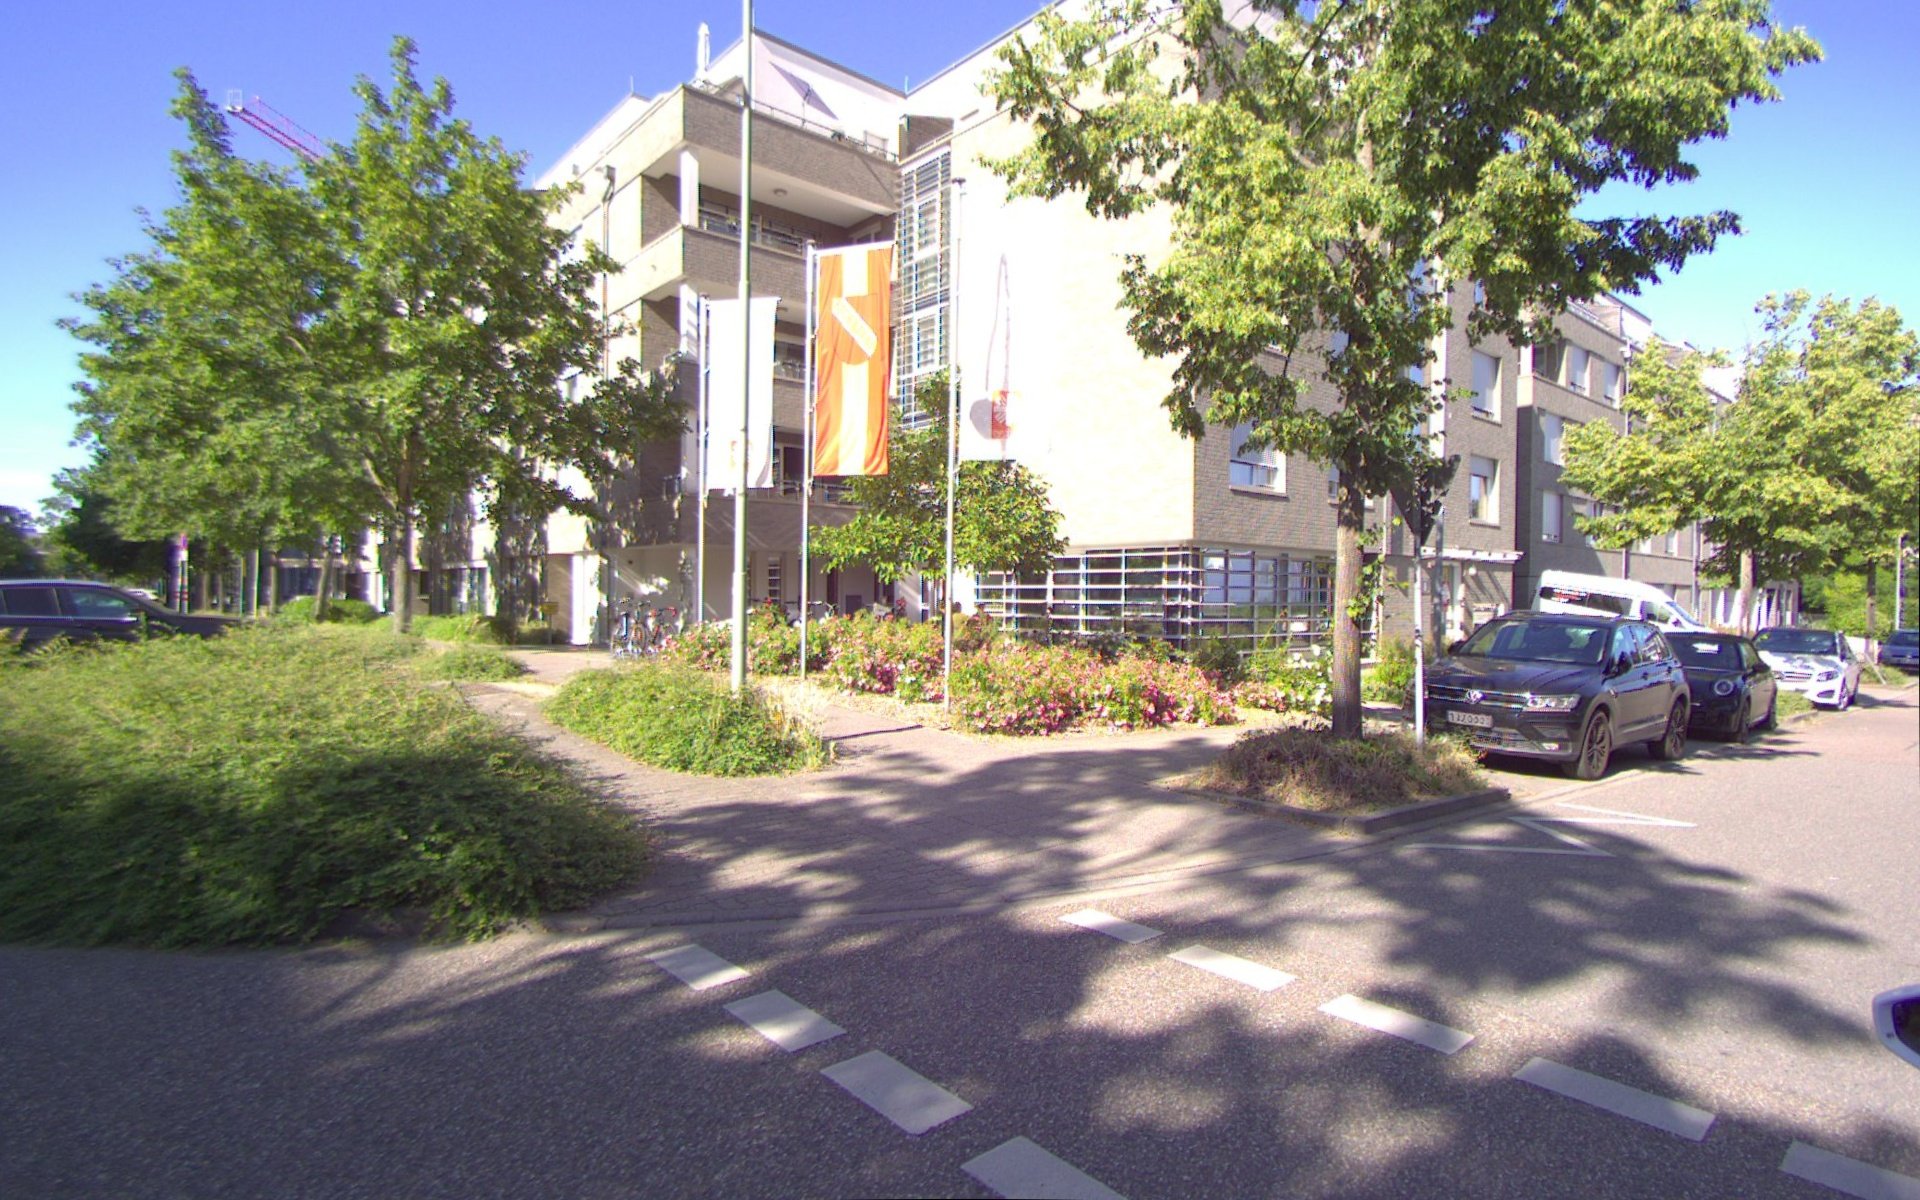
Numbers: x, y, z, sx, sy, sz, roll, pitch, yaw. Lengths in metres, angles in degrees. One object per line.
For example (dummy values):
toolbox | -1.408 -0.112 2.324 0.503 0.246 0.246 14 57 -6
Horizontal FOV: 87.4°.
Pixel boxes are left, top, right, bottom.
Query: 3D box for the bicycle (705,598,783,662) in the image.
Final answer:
bicycle | -3.943 0.515 18.198 0.435 1.061 2.167 -1 1 -40

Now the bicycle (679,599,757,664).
bicycle | -4.339 0.528 17.866 0.435 1.061 2.167 -1 1 -40

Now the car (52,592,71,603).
car | -148.008 -0.440 165.512 1.936 1.648 3.957 2 -1 -38

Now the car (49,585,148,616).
car | -47.628 0.002 55.656 4.091 1.642 1.782 -1 1 -40

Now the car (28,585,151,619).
car | -40.430 0.099 46.754 4.240 1.500 1.778 0 0 -42

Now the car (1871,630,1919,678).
car | 32.048 1.789 33.881 3.846 1.484 1.596 1 0 -42

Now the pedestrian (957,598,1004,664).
pedestrian | 0.431 0.649 21.487 0.665 1.379 0.736 1 0 -40

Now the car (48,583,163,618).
car | -41.971 -0.017 49.459 4.204 1.624 1.930 -2 2 -41

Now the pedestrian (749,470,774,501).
pedestrian | -4.864 -2.798 24.614 0.421 0.695 0.414 1 1 40

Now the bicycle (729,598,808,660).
bicycle | -3.562 0.503 18.508 0.435 1.061 2.167 -1 1 -40

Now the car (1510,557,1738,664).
car | 20.539 0.239 31.319 1.909 2.414 5.393 1 8 -44

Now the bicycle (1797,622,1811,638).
bicycle | 48.648 1.729 57.916 1.758 0.849 0.251 0 1 -38

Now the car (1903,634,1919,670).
car | 36.458 1.965 37.336 3.844 1.233 1.585 1 2 -40

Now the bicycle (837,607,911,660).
bicycle | -1.892 0.709 21.804 0.435 1.061 2.167 -1 1 -40

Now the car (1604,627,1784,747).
car | 11.033 1.197 15.009 3.765 1.524 1.562 2 -1 -44

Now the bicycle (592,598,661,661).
bicycle | -6.099 0.503 18.309 0.435 1.061 2.167 -1 1 -40

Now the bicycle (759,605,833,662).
bicycle | -3.357 0.653 20.429 0.435 1.061 2.167 -1 1 -40

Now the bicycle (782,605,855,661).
bicycle | -2.954 0.662 20.779 0.435 1.061 2.167 -1 1 -40

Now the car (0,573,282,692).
car | -12.176 0.403 14.185 4.172 1.540 1.751 0 1 -40

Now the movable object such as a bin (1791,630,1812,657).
movable object such as a bin | 35.245 1.807 42.076 0.632 1.105 0.602 -1 1 -42

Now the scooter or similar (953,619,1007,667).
scooter or similar | 0.422 0.908 21.528 0.799 0.967 0.858 -1 1 -41

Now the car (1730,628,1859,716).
car | 17.317 1.404 20.766 4.259 1.553 1.642 1 0 -45

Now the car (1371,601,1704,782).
car | 6.640 0.917 11.359 4.303 1.641 1.871 2 -1 -40

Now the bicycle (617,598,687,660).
bicycle | -5.742 0.502 18.631 0.435 1.061 2.167 -1 1 -40

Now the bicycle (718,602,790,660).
bicycle | -4.146 0.591 20.097 0.435 1.061 2.167 -1 1 -40

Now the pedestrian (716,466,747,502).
pedestrian | -5.644 -2.869 24.837 0.358 0.809 0.680 1 1 42
